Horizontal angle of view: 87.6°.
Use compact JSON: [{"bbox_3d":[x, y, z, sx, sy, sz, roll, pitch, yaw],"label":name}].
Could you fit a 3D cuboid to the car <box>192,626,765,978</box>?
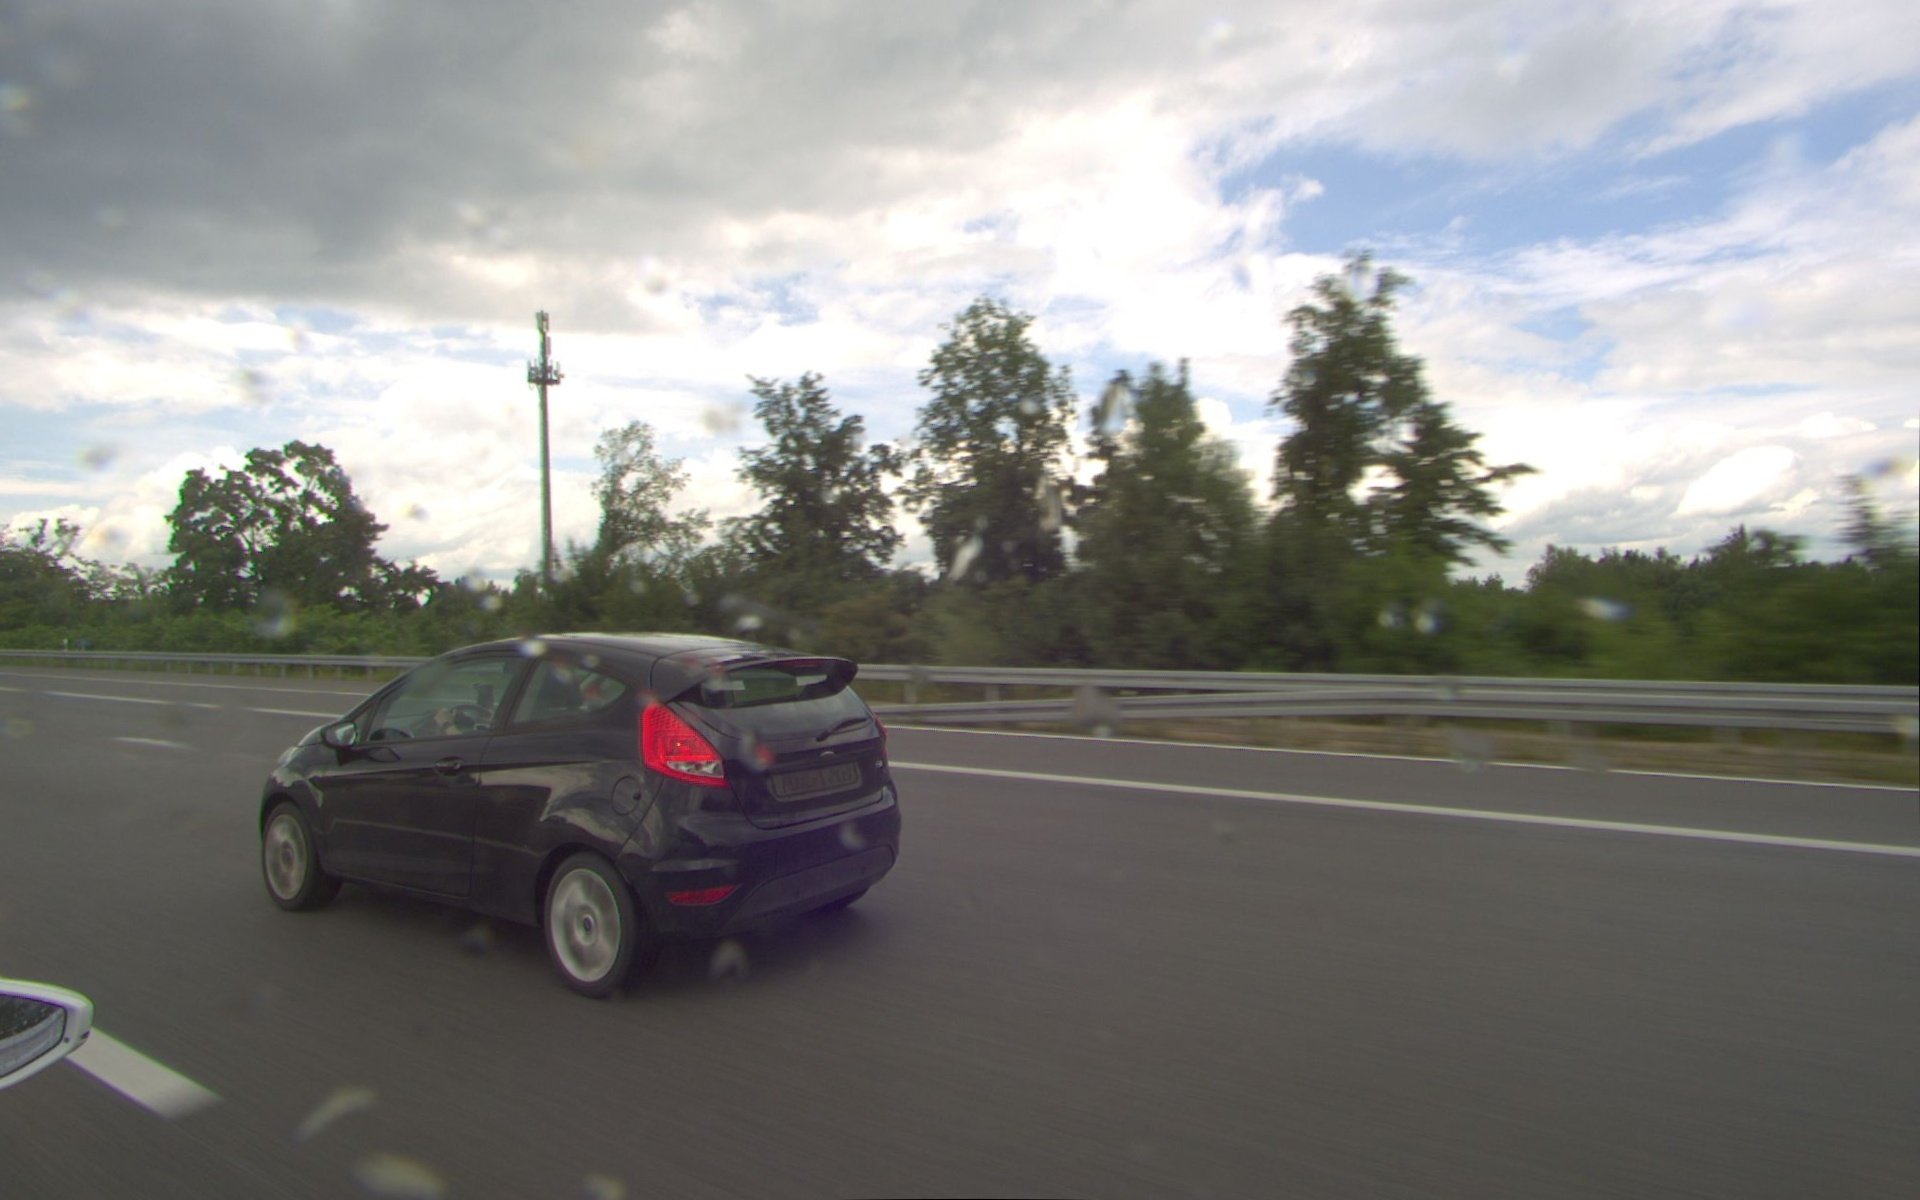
[{"bbox_3d":[-2.749,0.887,5.609,3.118,1.459,1.445,-1,-2,32],"label":"car"}]
